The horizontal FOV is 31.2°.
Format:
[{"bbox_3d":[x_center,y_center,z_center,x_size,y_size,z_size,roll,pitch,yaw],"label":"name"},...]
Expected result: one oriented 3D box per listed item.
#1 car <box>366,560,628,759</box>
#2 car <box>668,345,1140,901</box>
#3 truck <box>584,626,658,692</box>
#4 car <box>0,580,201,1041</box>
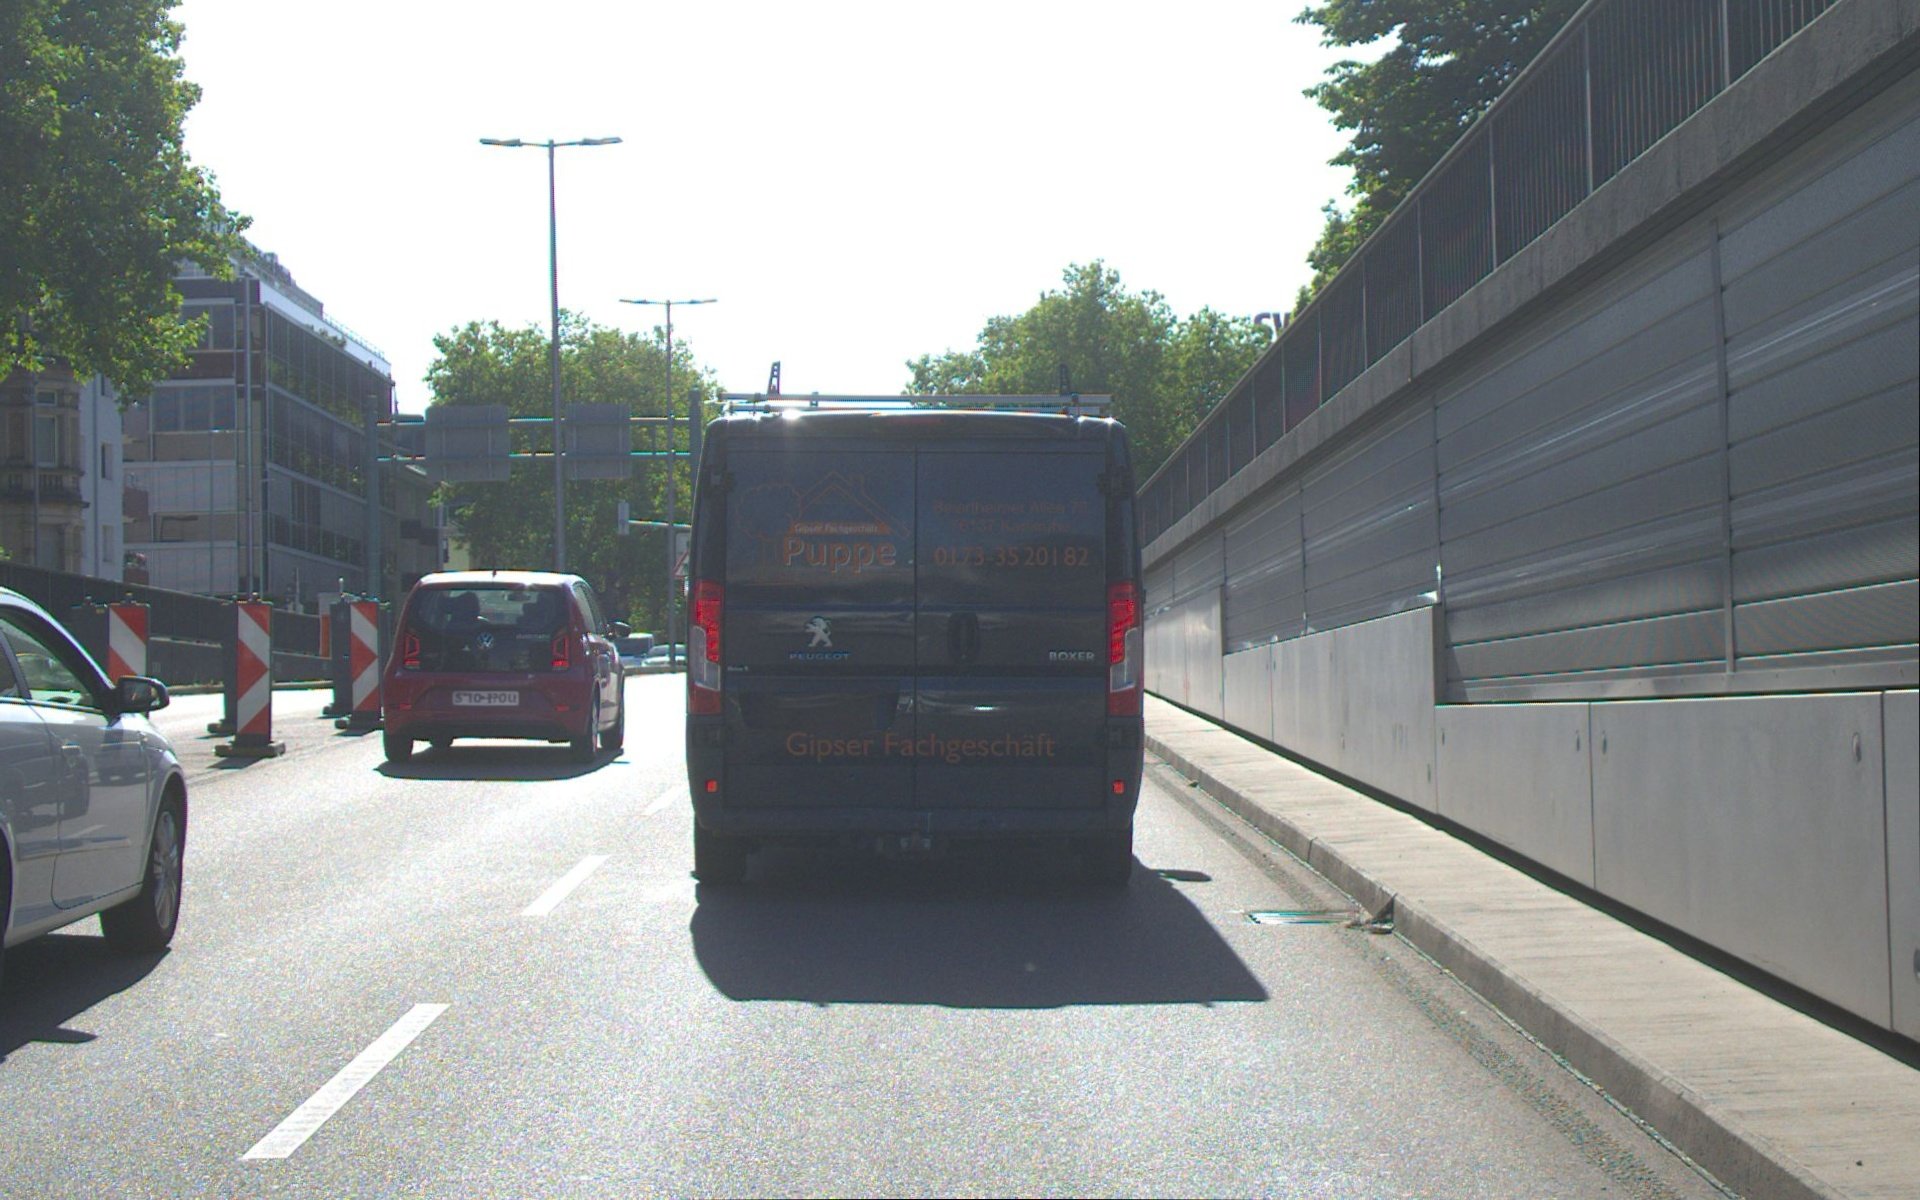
[{"bbox_3d":[-3.620,0.446,27.373,1.689,1.478,3.319,0,0,-1],"label":"car"},{"bbox_3d":[-0.264,0.100,16.870,2.030,2.394,3.973,0,0,-1],"label":"car"},{"bbox_3d":[-13.646,2.402,138.654,2.229,2.519,6.128,-2,-1,0],"label":"truck"},{"bbox_3d":[-3.731,0.632,11.418,1.619,1.398,3.852,0,0,-1],"label":"car"}]
